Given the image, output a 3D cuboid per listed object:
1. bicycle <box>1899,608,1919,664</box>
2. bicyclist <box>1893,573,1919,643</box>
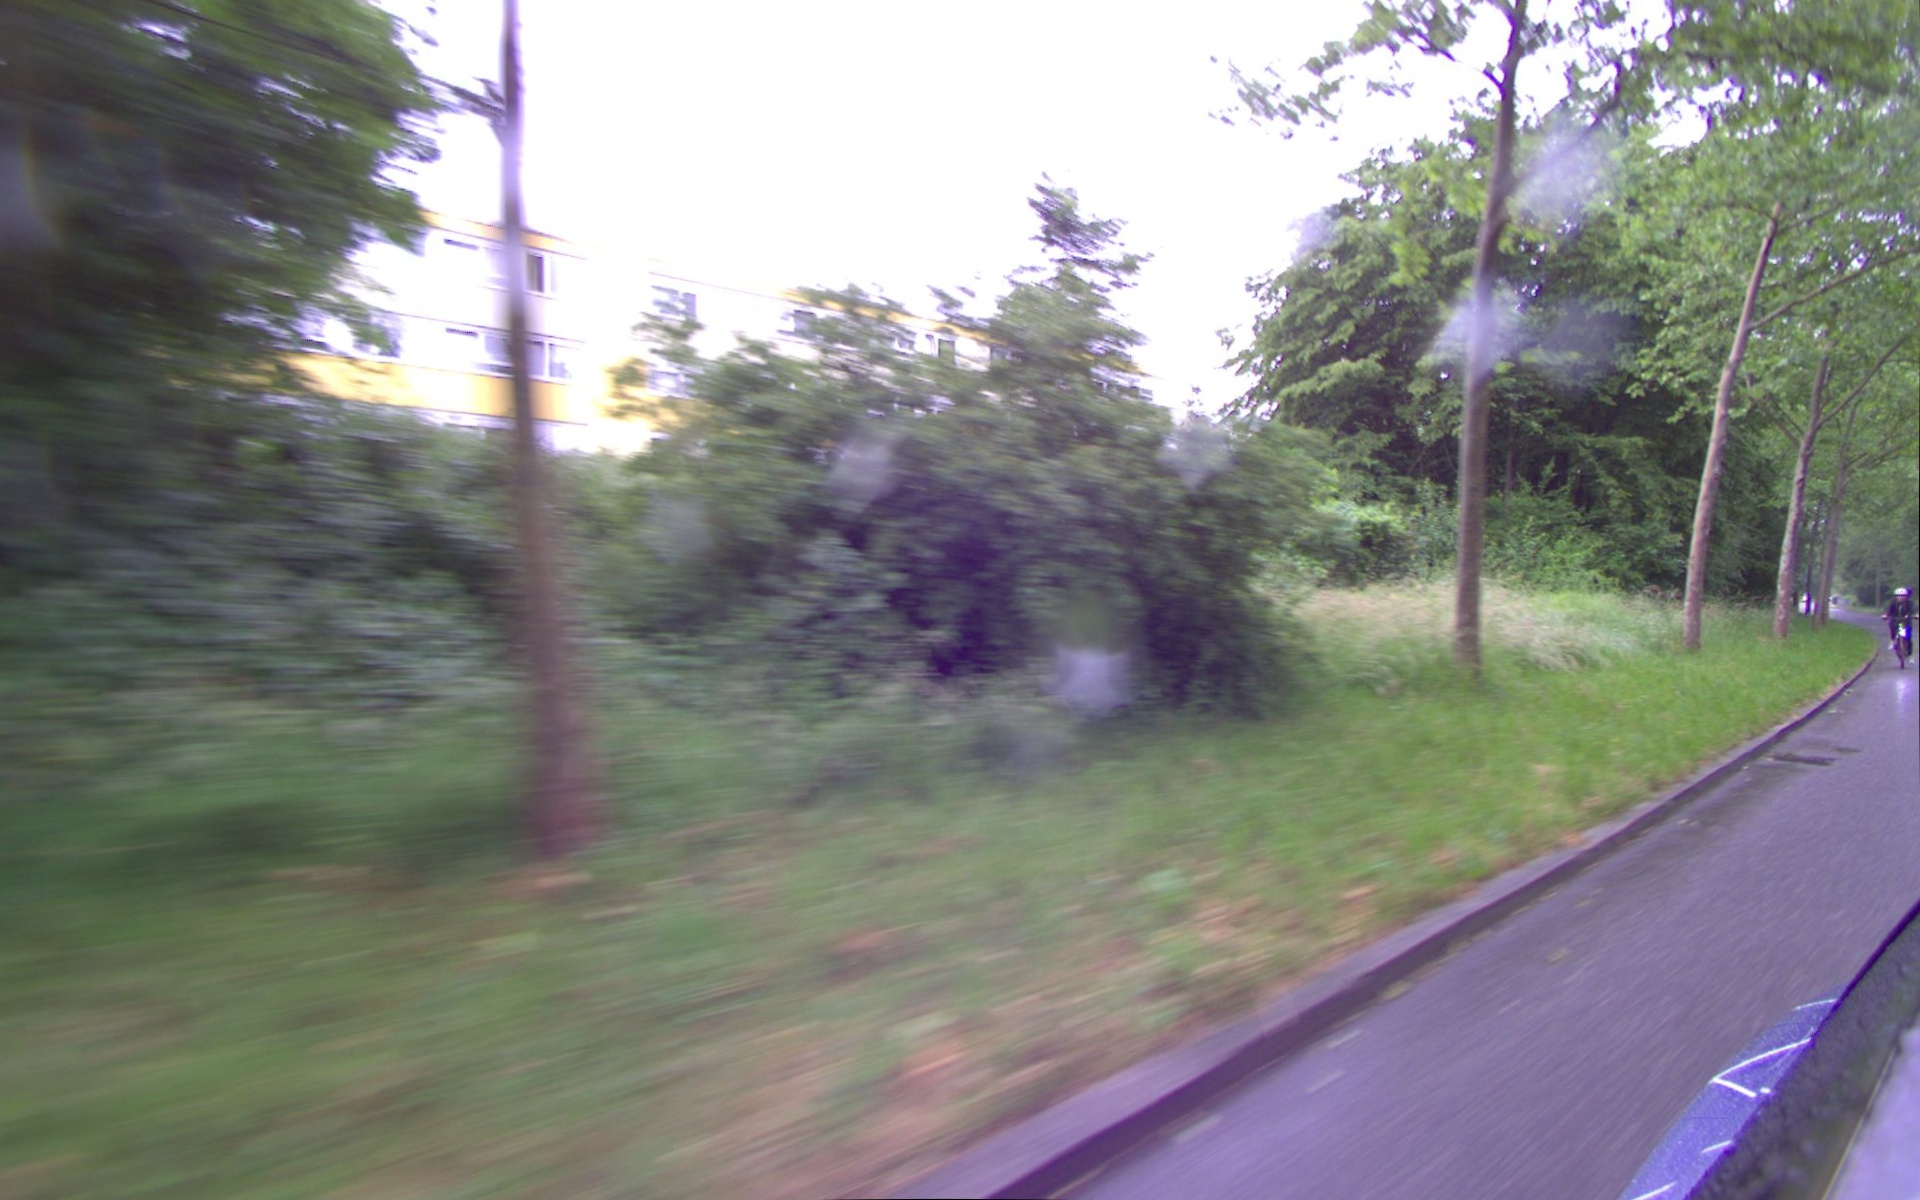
[{"bbox_3d":[20.952,0.772,22.146,1.802,1.148,0.453,-1,0,-43],"label":"bicycle"},{"bbox_3d":[21.030,0.174,22.245,0.786,1.516,0.697,0,1,-42],"label":"bicyclist"}]
